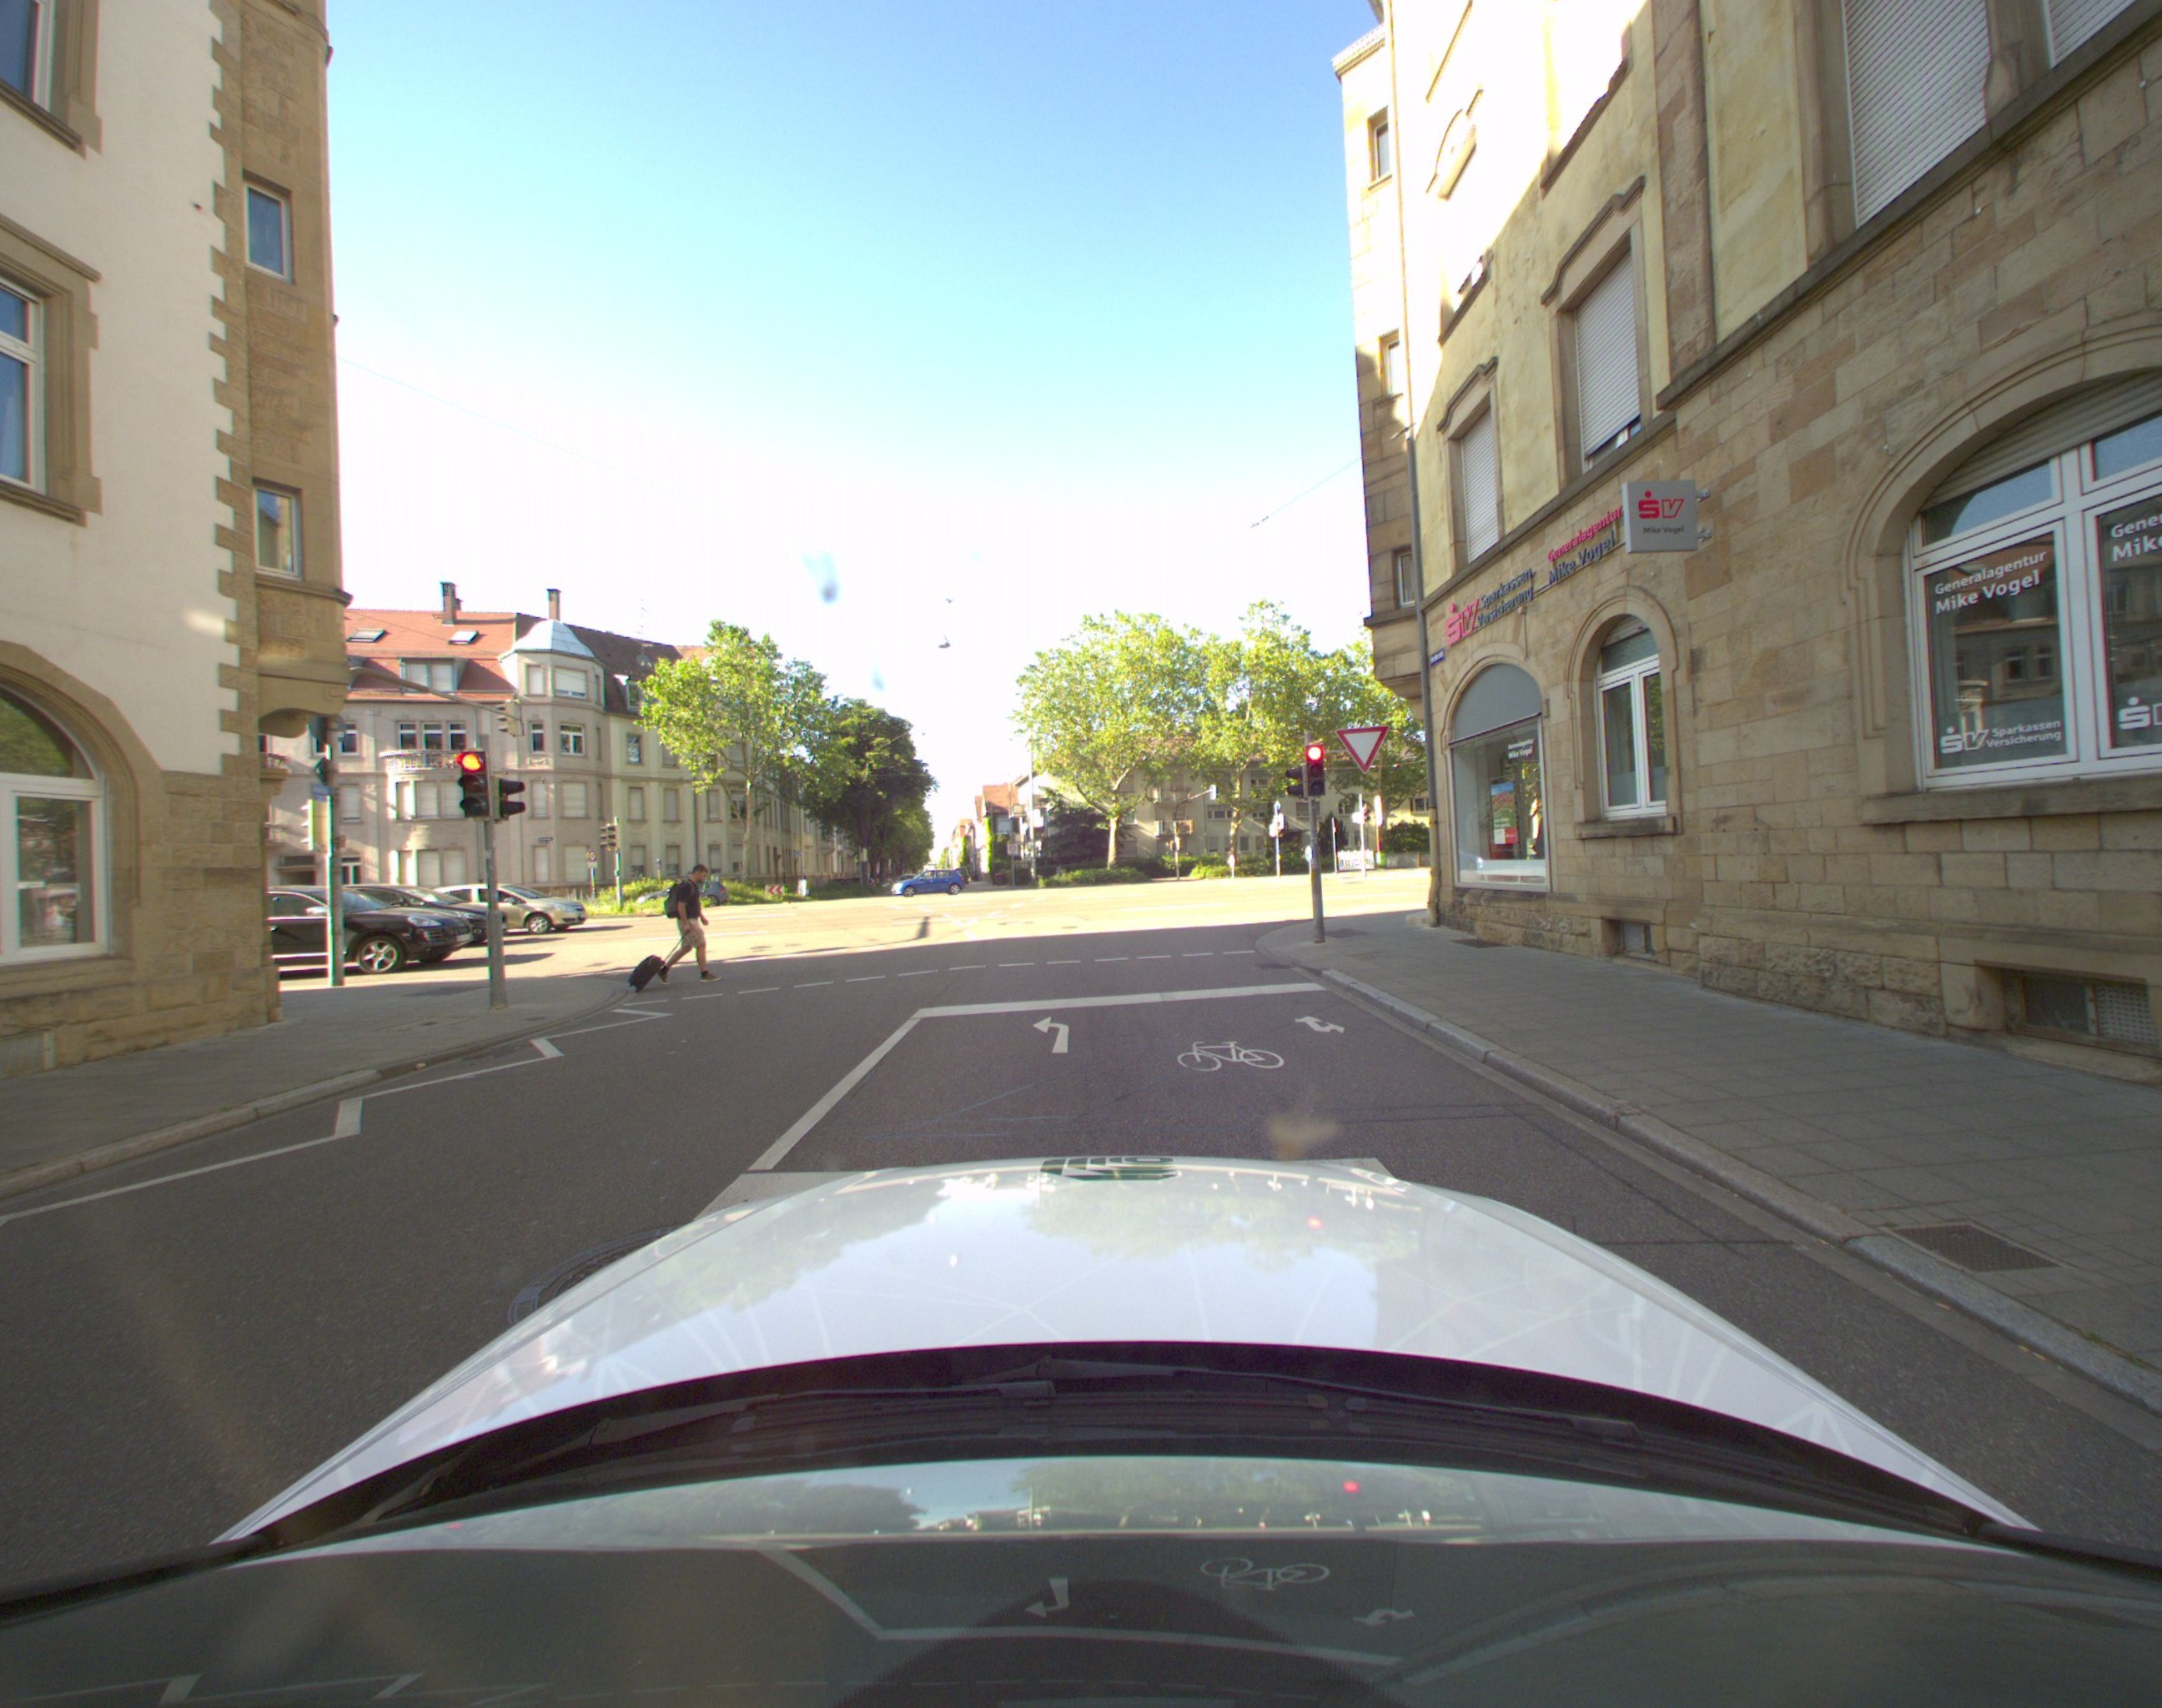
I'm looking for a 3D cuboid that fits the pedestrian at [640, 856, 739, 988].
[{"bbox_3d":[-5.889,0.991,12.308,1.066,1.848,0.746,-4,0,-11],"label":"pedestrian"}]

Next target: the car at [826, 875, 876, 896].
[{"bbox_3d":[-17.950,2.464,63.725,3.636,1.457,1.650,-2,0,-14],"label":"car"}]

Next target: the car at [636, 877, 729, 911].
[{"bbox_3d":[-19.850,1.973,40.726,3.951,1.400,1.635,-2,0,-19],"label":"car"}]

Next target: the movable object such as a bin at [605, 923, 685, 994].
[{"bbox_3d":[-6.272,1.489,11.739,0.862,0.892,0.507,-3,0,-11],"label":"movable object such as a bin"}]

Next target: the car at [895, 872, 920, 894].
[{"bbox_3d":[-13.592,2.261,63.827,1.698,1.483,3.522,-4,0,-10],"label":"car"}]

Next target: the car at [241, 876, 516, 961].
[{"bbox_3d":[-16.674,1.474,19.603,4.668,1.664,1.722,-2,0,-14],"label":"car"}]

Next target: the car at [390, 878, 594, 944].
[{"bbox_3d":[-16.276,1.532,22.736,4.207,1.456,1.670,-3,0,-14],"label":"car"}]

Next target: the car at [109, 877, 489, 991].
[{"bbox_3d":[-14.442,1.399,15.452,4.705,1.694,2.067,-2,0,-17],"label":"car"}]

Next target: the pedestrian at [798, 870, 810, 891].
[{"bbox_3d":[-19.811,1.874,58.159,0.696,1.442,0.493,-1,-1,33],"label":"pedestrian"}]

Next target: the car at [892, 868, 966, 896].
[{"bbox_3d":[-8.460,1.535,45.367,3.793,1.400,1.635,-2,0,-20],"label":"car"}]

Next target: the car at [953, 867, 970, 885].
[{"bbox_3d":[-14.011,2.500,95.313,1.773,1.918,3.522,-4,0,-10],"label":"car"}]
